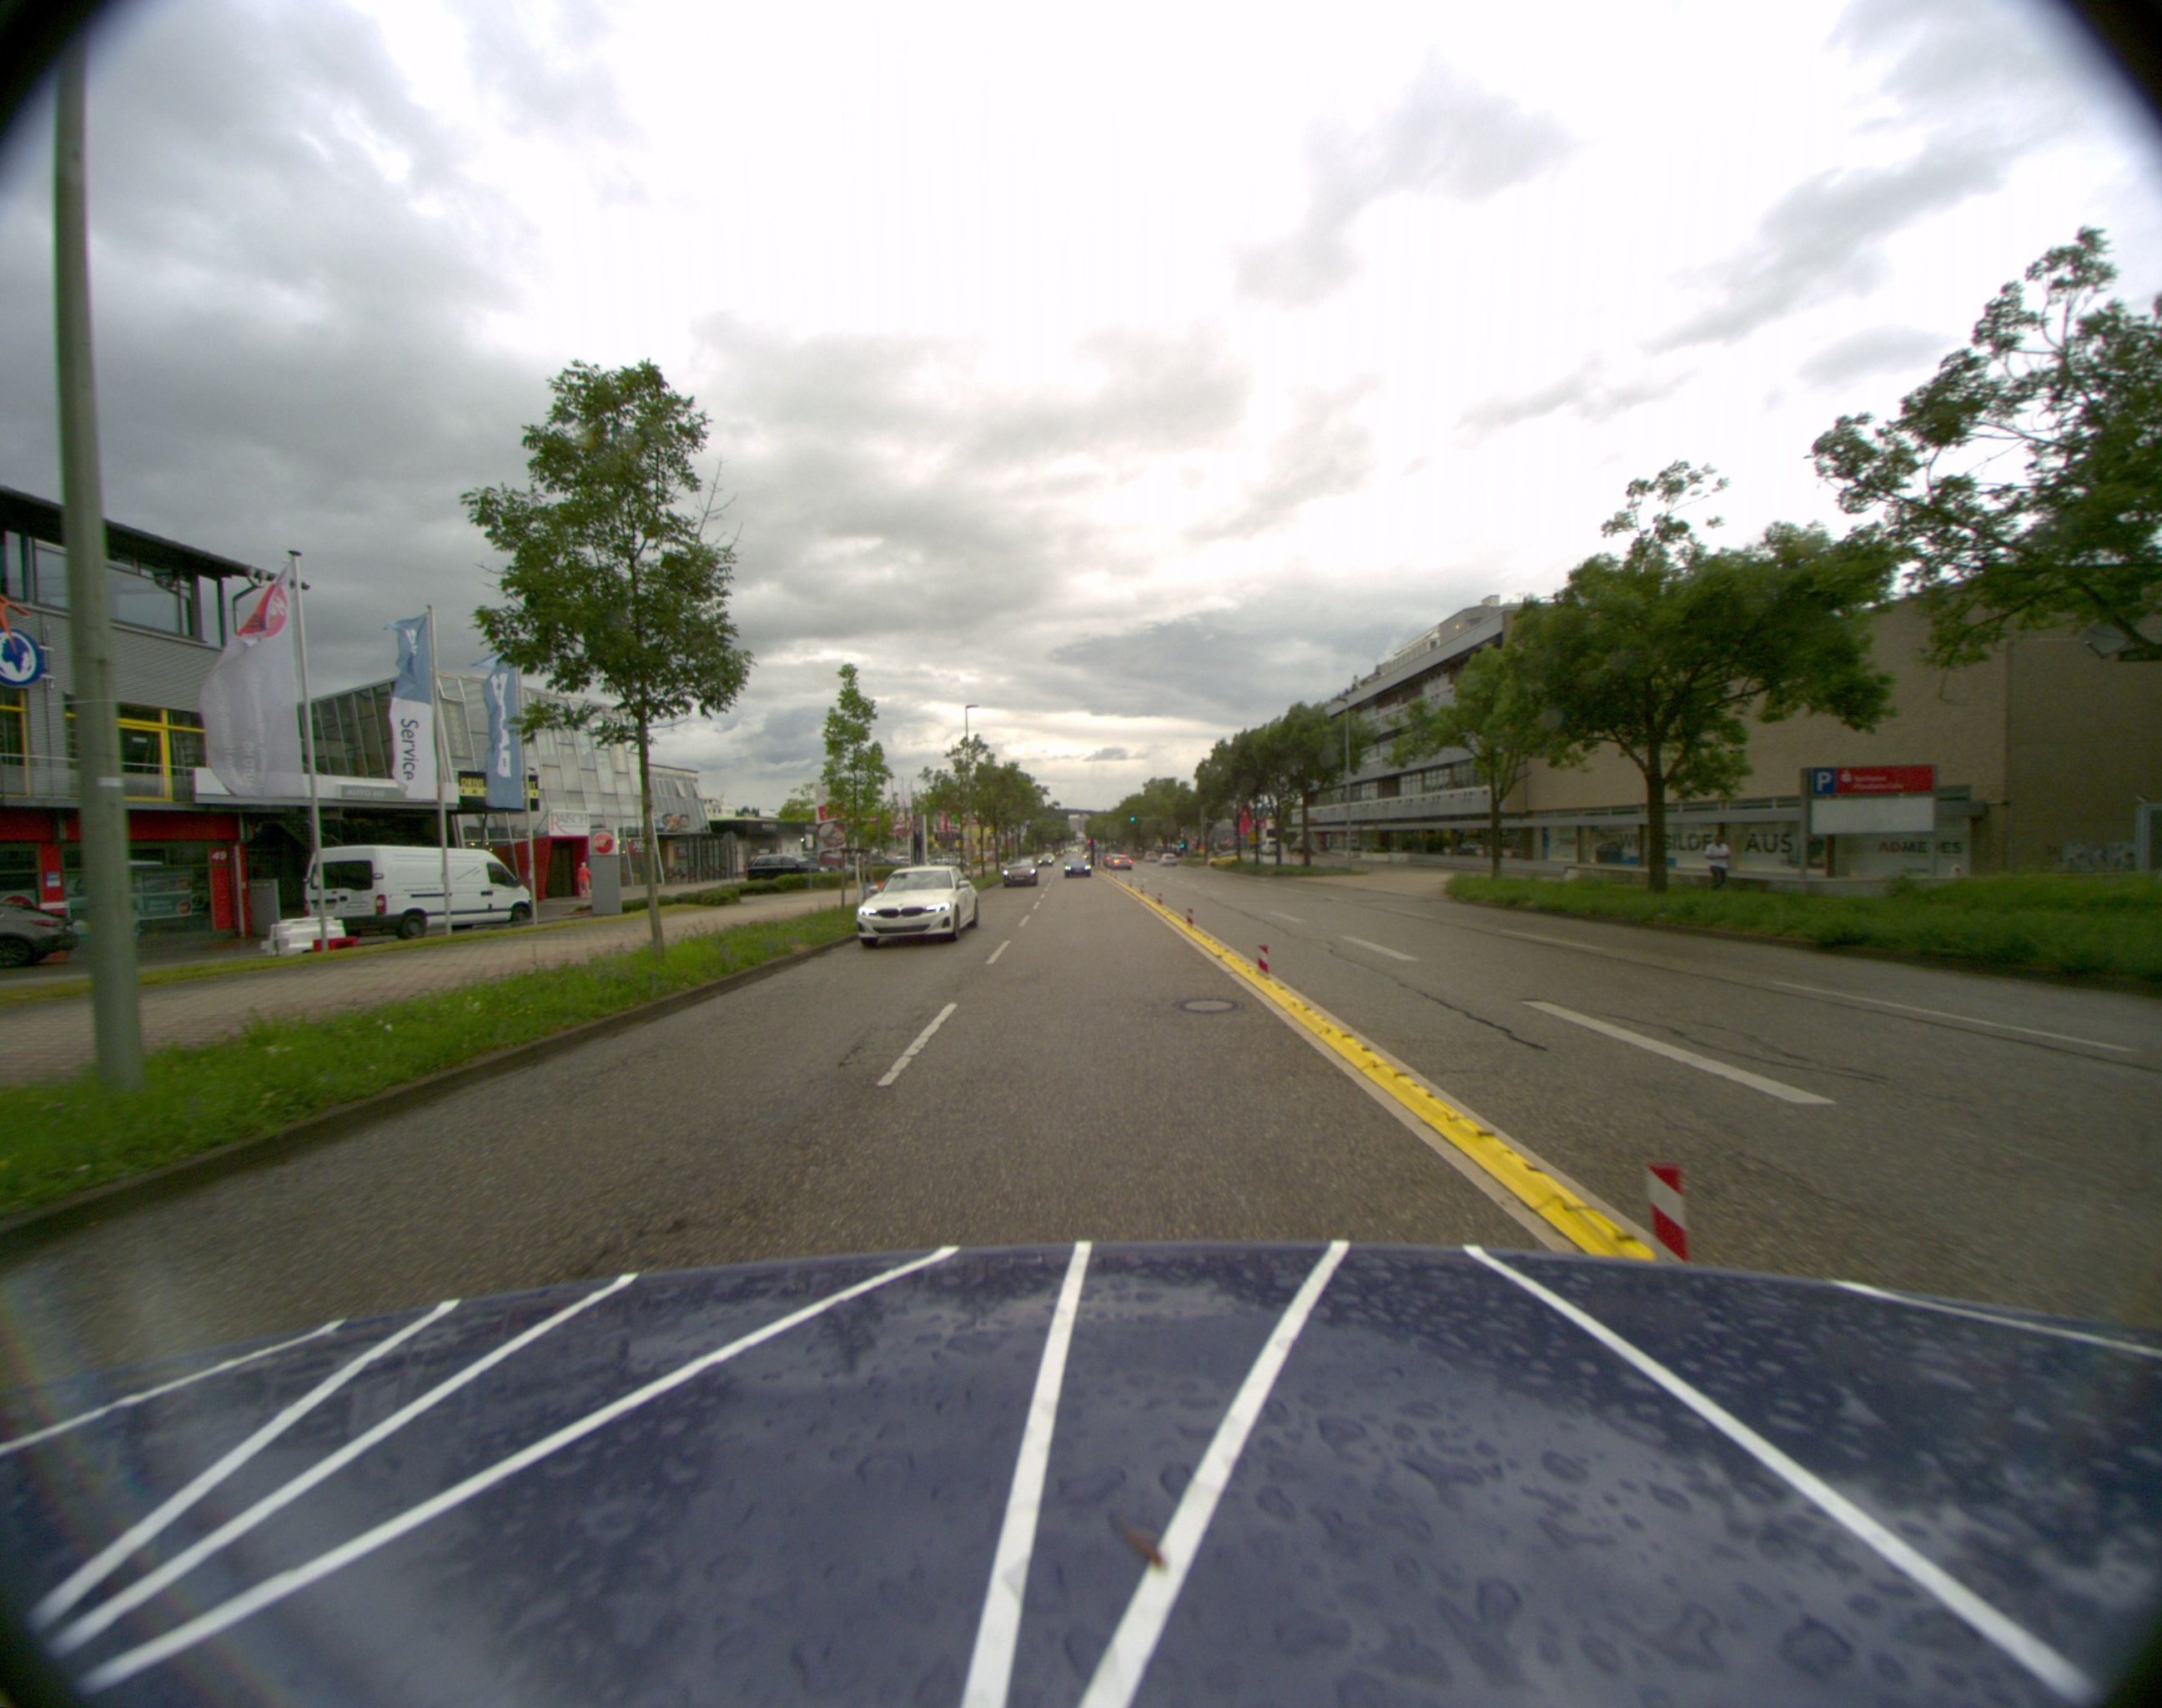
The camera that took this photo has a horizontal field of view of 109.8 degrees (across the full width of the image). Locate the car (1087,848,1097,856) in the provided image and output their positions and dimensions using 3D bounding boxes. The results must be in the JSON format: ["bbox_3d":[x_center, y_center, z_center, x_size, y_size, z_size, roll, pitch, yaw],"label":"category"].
[{"bbox_3d":[1.954,-0.341,140.506,1.754,1.501,3.999,-1,1,-1],"label":"car"}]

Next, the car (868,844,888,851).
[{"bbox_3d":[-46.909,-1.443,175.647,4.221,1.572,1.823,-1,1,0],"label":"car"}]

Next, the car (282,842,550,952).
[{"bbox_3d":[-17.978,1.097,21.108,2.232,2.521,5.682,-4,-1,2],"label":"car"}]

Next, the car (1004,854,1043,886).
[{"bbox_3d":[-3.126,0.825,42.056,1.799,1.572,4.217,-4,0,-1],"label":"car"}]

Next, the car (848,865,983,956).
[{"bbox_3d":[-3.259,1.041,15.889,1.808,1.432,4.541,-4,0,-1],"label":"car"}]

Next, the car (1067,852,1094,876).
[{"bbox_3d":[-0.038,0.676,54.883,1.799,1.572,4.218,-4,0,0],"label":"car"}]

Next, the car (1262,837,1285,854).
[{"bbox_3d":[24.635,-1.122,97.338,1.998,2.002,4.886,-1,1,4],"label":"car"}]

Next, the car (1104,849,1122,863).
[{"bbox_3d":[3.607,0.196,86.151,1.754,1.516,3.999,-1,1,-1],"label":"car"}]

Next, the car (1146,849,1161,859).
[{"bbox_3d":[10.912,-0.010,114.428,1.745,1.544,4.781,0,0,0],"label":"car"}]

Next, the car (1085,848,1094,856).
[{"bbox_3d":[1.758,-0.459,154.478,1.754,1.501,3.999,-1,1,-1],"label":"car"}]

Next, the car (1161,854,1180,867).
[{"bbox_3d":[10.560,0.785,89.655,1.745,1.398,4.468,0,1,0],"label":"car"}]

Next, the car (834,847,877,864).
[{"bbox_3d":[-24.748,0.132,83.608,4.124,1.736,1.794,0,2,-44],"label":"car"}]

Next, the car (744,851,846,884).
[{"bbox_3d":[-15.056,0.705,40.045,4.663,1.591,1.928,1,1,10],"label":"car"}]

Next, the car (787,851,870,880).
[{"bbox_3d":[-14.590,0.643,44.067,4.178,1.591,1.828,1,1,3],"label":"car"}]

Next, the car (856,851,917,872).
[{"bbox_3d":[-14.912,0.559,58.367,4.179,1.464,1.862,1,1,-1],"label":"car"}]

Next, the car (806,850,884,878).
[{"bbox_3d":[-14.581,0.605,47.076,4.178,1.591,1.800,1,1,3],"label":"car"}]

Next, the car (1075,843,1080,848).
[{"bbox_3d":[-1.142,-2.683,248.280,1.753,1.501,4.000,-1,1,0],"label":"car"}]

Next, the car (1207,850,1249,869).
[{"bbox_3d":[14.806,0.560,76.570,3.702,1.500,1.624,-4,2,34],"label":"car"}]

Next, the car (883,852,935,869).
[{"bbox_3d":[-15.669,0.587,69.249,4.191,1.464,1.785,1,1,-37],"label":"car"}]

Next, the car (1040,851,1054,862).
[{"bbox_3d":[-4.524,0.334,102.879,1.754,1.501,3.999,-1,1,-1],"label":"car"}]

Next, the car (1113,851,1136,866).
[{"bbox_3d":[4.080,0.407,72.400,1.788,1.398,4.615,-1,0,-1],"label":"car"}]

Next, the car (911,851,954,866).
[{"bbox_3d":[-16.162,0.464,82.664,4.186,1.570,1.738,1,1,-39],"label":"car"}]

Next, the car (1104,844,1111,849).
[{"bbox_3d":[7.721,-2.128,221.628,1.754,1.566,3.999,-1,1,-1],"label":"car"}]

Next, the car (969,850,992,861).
[{"bbox_3d":[-18.322,0.276,138.436,4.001,1.802,1.766,-1,1,-12],"label":"car"}]

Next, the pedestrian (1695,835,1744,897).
[{"bbox_3d":[16.743,0.305,19.942,0.586,1.574,0.767,-4,1,2],"label":"pedestrian"}]

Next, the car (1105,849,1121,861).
[{"bbox_3d":[3.997,0.133,96.127,1.754,1.501,3.999,-1,1,-1],"label":"car"}]

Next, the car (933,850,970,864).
[{"bbox_3d":[-16.083,0.375,94.679,1.738,1.570,4.324,2,1,44],"label":"car"}]

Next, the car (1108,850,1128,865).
[{"bbox_3d":[3.824,0.349,79.190,1.745,1.398,3.999,-1,0,-1],"label":"car"}]

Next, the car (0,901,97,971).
[{"bbox_3d":[-24.870,1.862,16.380,1.779,1.461,4.269,-3,-2,45],"label":"car"}]

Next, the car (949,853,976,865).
[{"bbox_3d":[-15.916,0.678,101.893,1.747,1.570,3.864,-1,-1,-40],"label":"car"}]

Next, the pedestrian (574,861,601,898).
[{"bbox_3d":[-23.970,1.239,36.924,0.684,1.750,0.750,-2,2,4],"label":"pedestrian"}]
